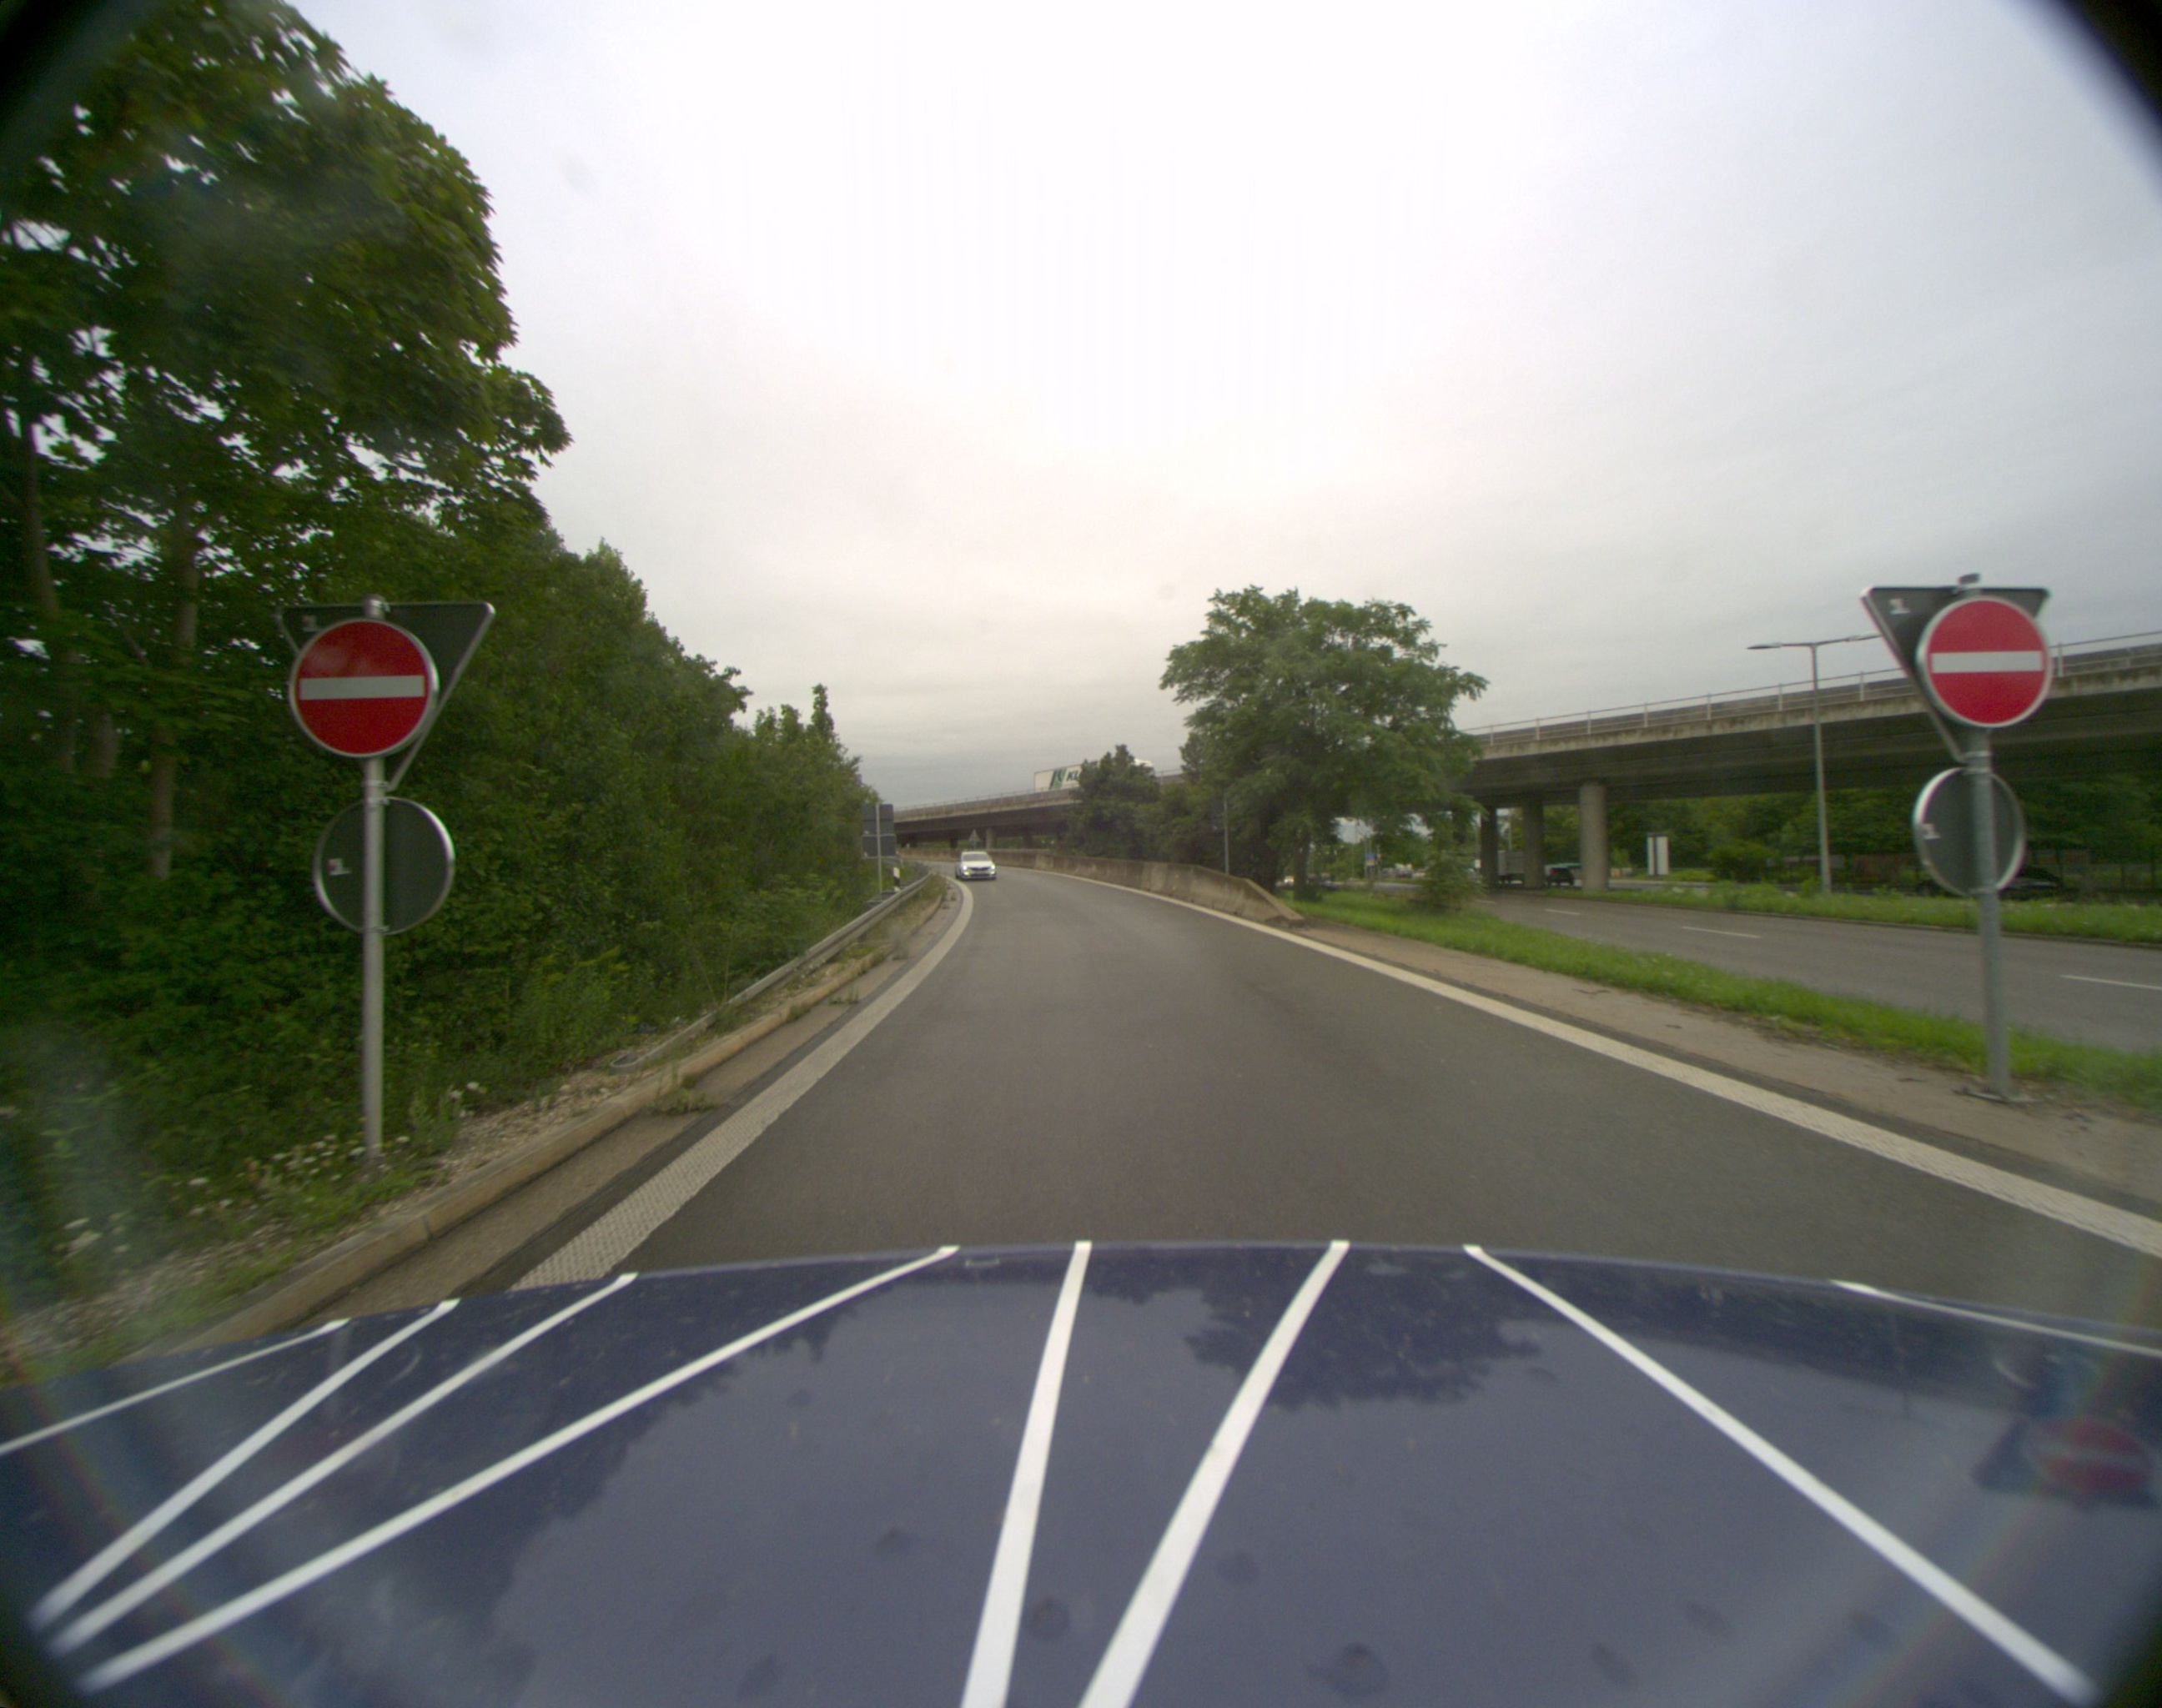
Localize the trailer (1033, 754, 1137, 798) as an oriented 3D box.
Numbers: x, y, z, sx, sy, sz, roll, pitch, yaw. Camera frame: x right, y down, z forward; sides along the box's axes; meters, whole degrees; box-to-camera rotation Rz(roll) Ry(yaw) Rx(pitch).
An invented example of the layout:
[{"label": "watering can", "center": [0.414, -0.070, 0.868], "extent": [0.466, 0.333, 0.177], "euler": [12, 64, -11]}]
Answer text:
[{"label": "trailer", "center": [0.080, -7.968, 79.300], "extent": [2.671, 3.279, 14.022], "euler": [-1, 1, -38]}]

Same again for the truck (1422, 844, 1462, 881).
[{"label": "truck", "center": [47.421, 1.043, 100.176], "extent": [2.794, 4.565, 9.612], "euler": [1, 0, 14]}]

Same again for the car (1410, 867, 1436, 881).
[{"label": "car", "center": [43.554, 2.518, 96.888], "extent": [1.972, 1.574, 4.595], "euler": [1, 0, 11]}]

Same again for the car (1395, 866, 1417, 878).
[{"label": "car", "center": [45.702, 2.528, 106.860], "extent": [1.972, 1.573, 4.596], "euler": [-1, -1, 12]}]

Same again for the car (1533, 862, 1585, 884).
[{"label": "car", "center": [37.872, 1.458, 60.349], "extent": [1.972, 1.574, 4.595], "euler": [1, 0, 11]}]

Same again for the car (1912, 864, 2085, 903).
[{"label": "car", "center": [36.484, 1.107, 30.458], "extent": [1.971, 1.388, 4.822], "euler": [0, 0, 15]}]

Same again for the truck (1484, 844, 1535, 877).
[{"label": "truck", "center": [40.541, 0.589, 72.120], "extent": [2.256, 2.960, 7.241], "euler": [1, 0, 14]}]

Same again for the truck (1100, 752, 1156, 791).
[{"label": "truck", "center": [4.492, -7.925, 73.697], "extent": [2.602, 3.227, 5.180], "euler": [-2, 0, -38]}]

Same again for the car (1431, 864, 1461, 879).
[{"label": "car", "center": [40.565, 1.888, 84.528], "extent": [1.972, 1.574, 4.595], "euler": [1, 0, 11]}]

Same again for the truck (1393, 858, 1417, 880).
[{"label": "truck", "center": [56.906, 2.554, 133.532], "extent": [2.794, 3.658, 6.651], "euler": [1, 0, 14]}]

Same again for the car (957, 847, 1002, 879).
[{"label": "car", "center": [-5.321, 0.413, 39.540], "extent": [1.917, 1.439, 4.550], "euler": [-2, 2, -12]}]

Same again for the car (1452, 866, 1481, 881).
[{"label": "car", "center": [44.688, 2.223, 88.193], "extent": [1.971, 1.574, 4.596], "euler": [1, 0, 14]}]
